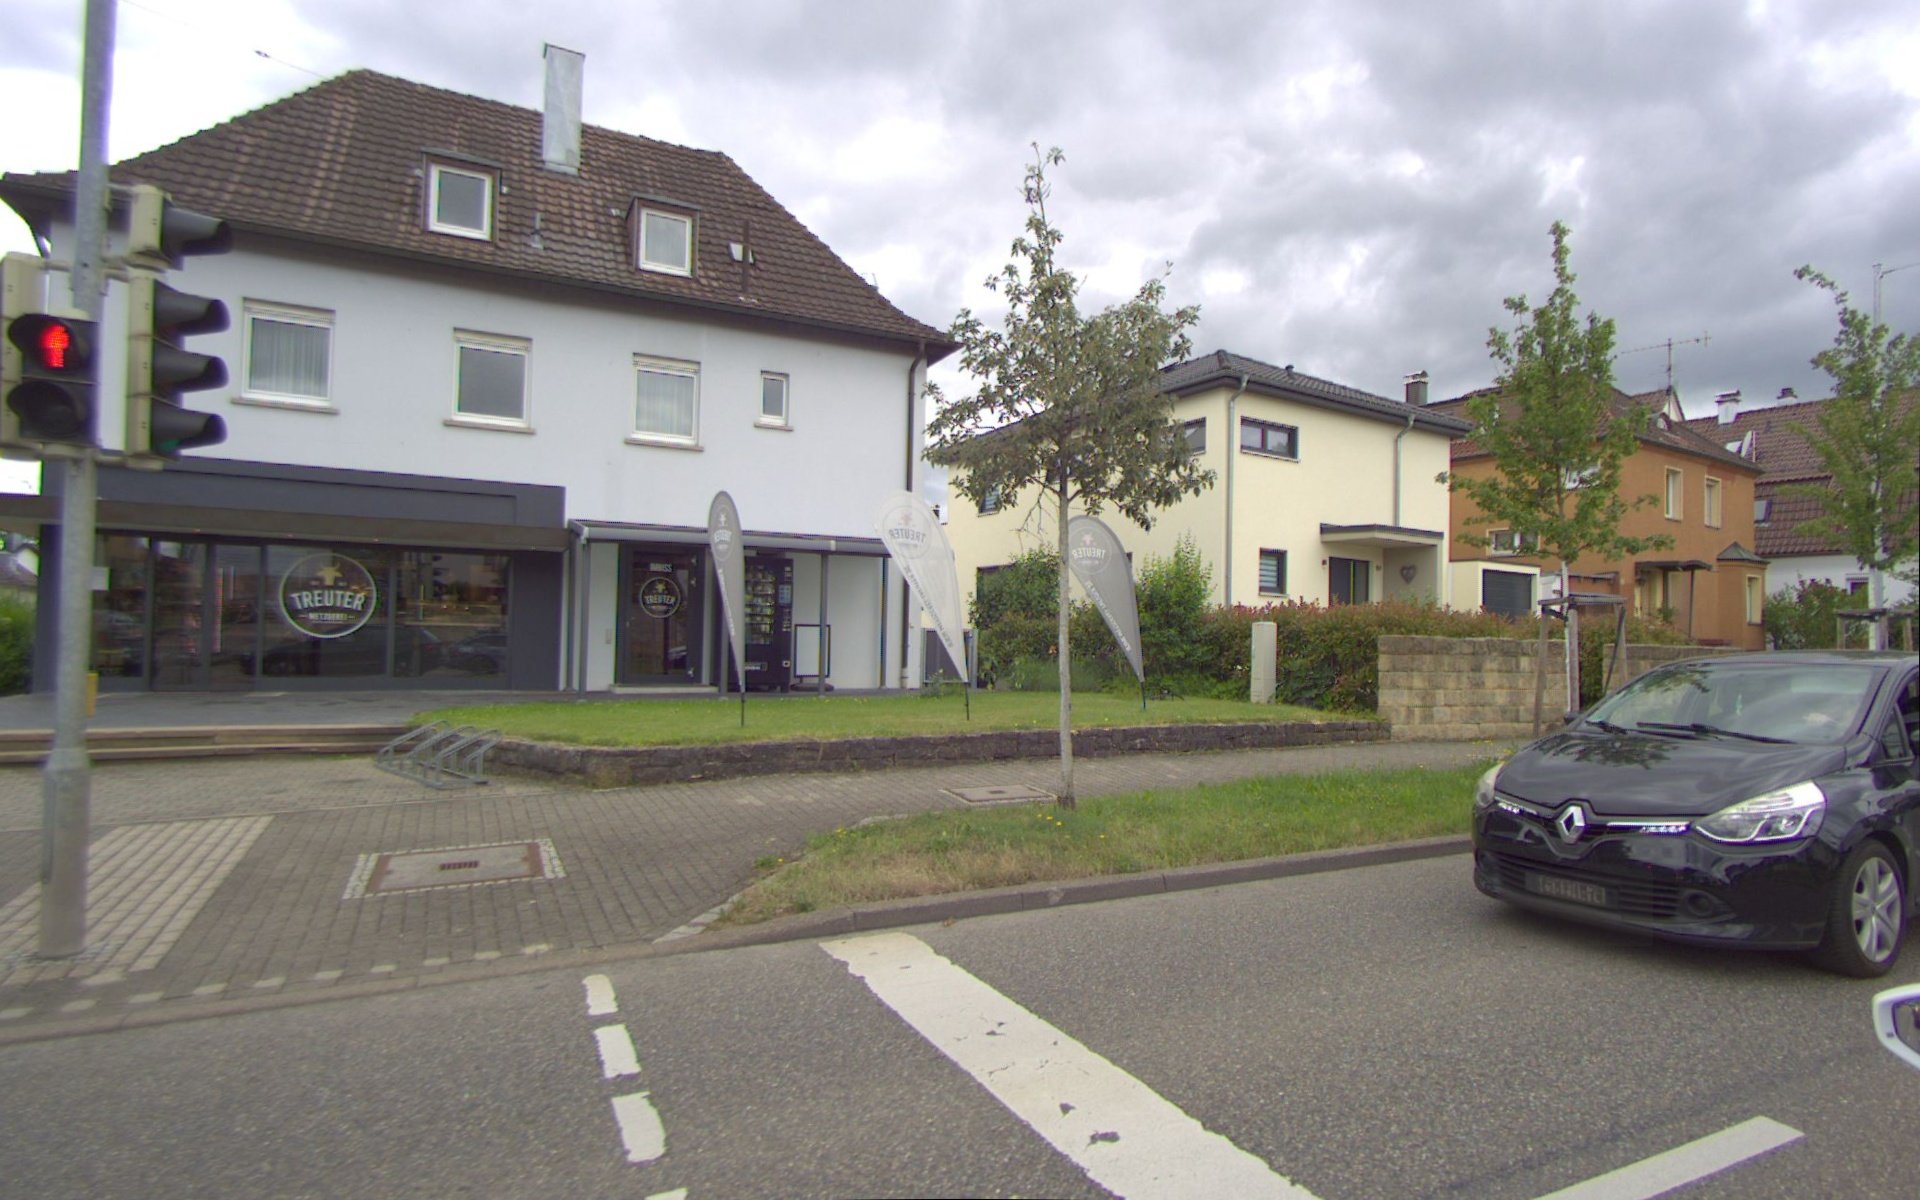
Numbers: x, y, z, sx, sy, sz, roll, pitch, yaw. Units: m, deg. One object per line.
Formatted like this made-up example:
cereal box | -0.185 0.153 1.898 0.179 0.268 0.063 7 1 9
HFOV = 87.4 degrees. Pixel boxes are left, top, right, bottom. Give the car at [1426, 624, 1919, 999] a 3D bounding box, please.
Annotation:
car | 4.682 0.940 5.645 3.948 1.491 1.611 1 -4 -26
